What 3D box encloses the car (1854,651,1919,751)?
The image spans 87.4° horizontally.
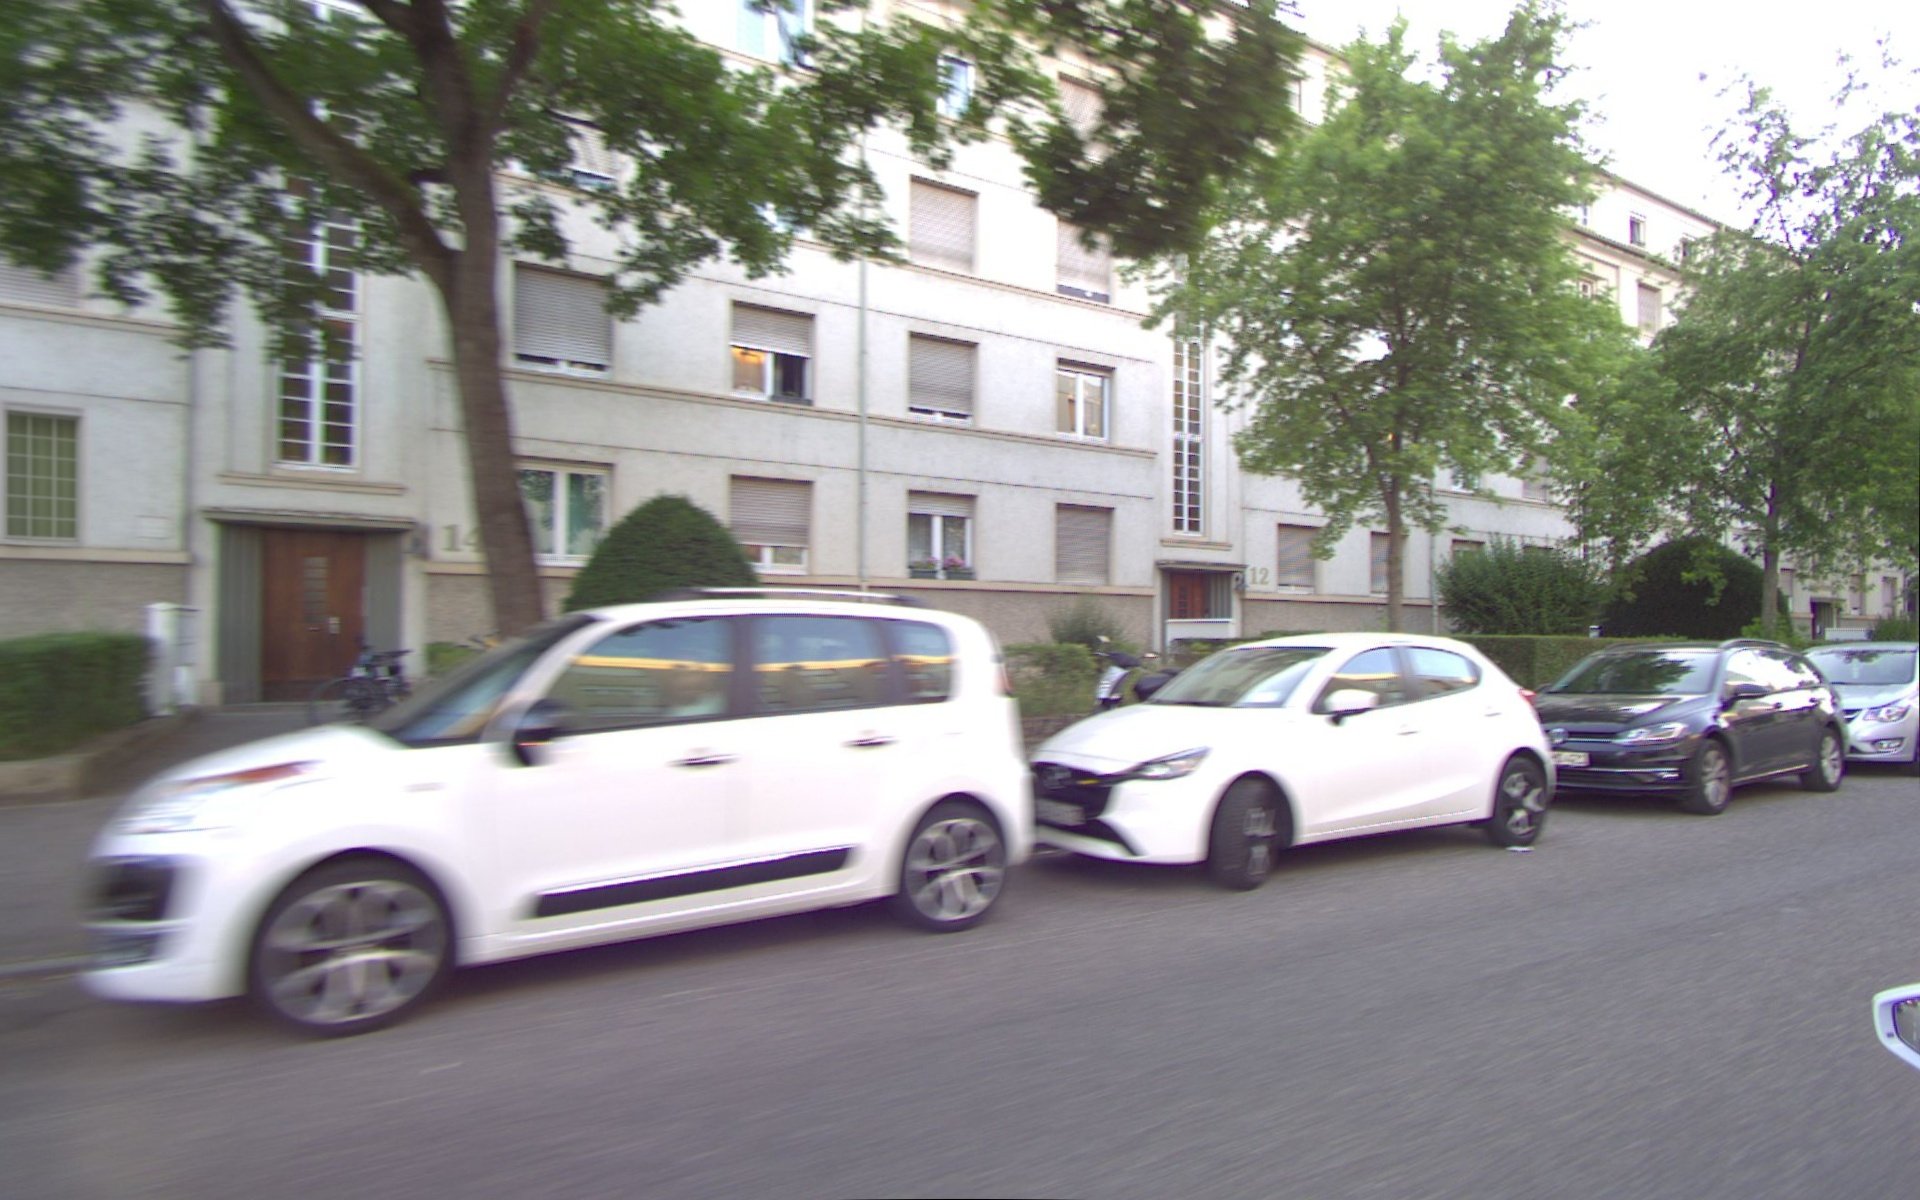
[{"bbox_3d":[15.057,1.411,14.704,4.528,1.349,1.666,2,-5,-32],"label":"car"}]

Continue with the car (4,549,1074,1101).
[{"bbox_3d":[-1.593,0.780,4.874,4.062,1.653,1.744,2,-5,-32],"label":"car"}]

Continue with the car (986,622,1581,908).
[{"bbox_3d":[2.299,0.967,7.014,3.896,1.498,1.745,1,-5,-29],"label":"car"}]

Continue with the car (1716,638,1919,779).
[{"bbox_3d":[11.016,1.241,12.246,3.665,1.478,1.665,2,-5,-33],"label":"car"}]

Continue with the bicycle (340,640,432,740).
[{"bbox_3d":[-6.713,1.016,11.826,0.549,1.056,1.810,1,-2,-18],"label":"bicycle"}]

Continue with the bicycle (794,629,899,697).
[{"bbox_3d":[-2.030,1.116,18.024,1.794,1.187,0.554,1,-2,-28],"label":"bicycle"}]

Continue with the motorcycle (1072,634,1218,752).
[{"bbox_3d":[2.264,1.090,12.203,1.807,1.342,0.583,1,-2,-31],"label":"motorcycle"}]

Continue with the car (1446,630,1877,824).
[{"bbox_3d":[6.927,1.101,9.781,4.627,1.498,1.743,2,-5,-32],"label":"car"}]

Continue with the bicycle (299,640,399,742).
[{"bbox_3d":[-7.036,1.006,11.645,0.549,1.056,1.810,1,-2,-18],"label":"bicycle"}]

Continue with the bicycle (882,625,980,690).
[{"bbox_3d":[-0.535,1.072,19.009,1.794,1.187,0.554,1,-2,-28],"label":"bicycle"}]
